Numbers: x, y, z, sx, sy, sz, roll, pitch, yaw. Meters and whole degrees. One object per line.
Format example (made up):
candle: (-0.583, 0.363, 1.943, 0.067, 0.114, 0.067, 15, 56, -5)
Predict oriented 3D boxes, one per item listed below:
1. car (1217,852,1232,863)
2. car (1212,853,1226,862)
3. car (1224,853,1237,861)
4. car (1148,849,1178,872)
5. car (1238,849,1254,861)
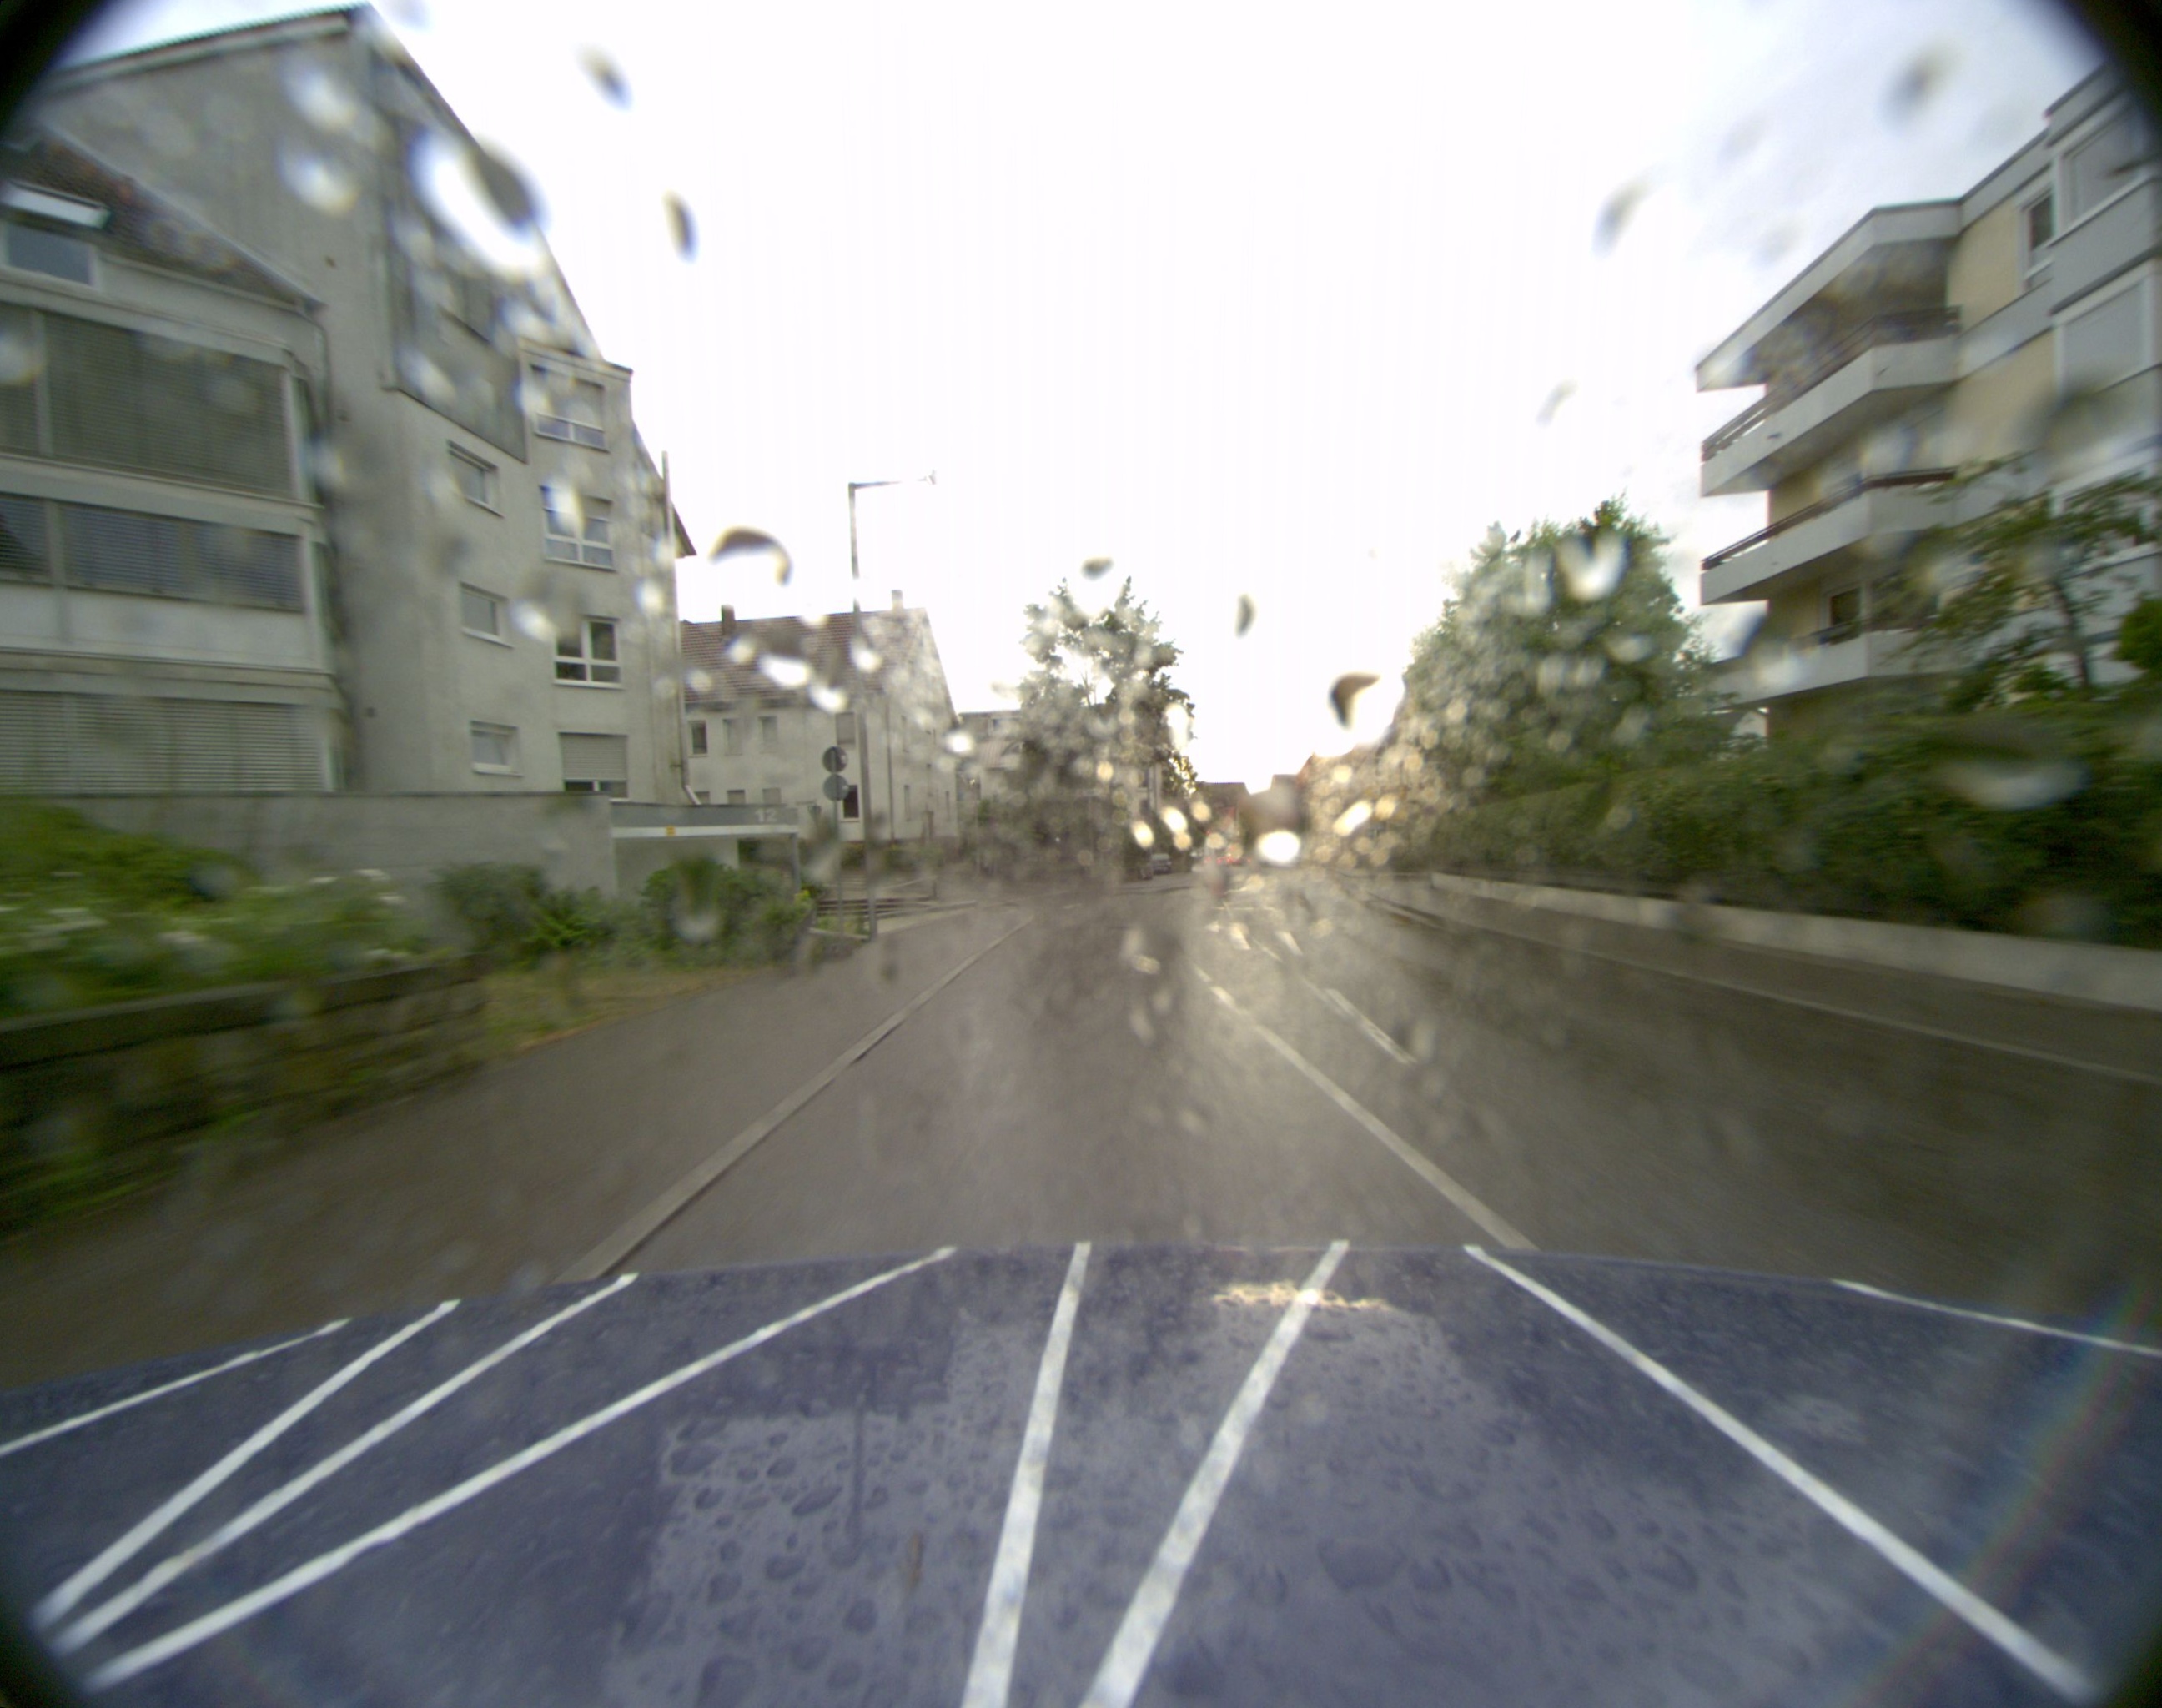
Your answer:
car: (21.015, 0.493, 111.141, 1.803, 1.431, 4.692, -2, -1, 7)
car: (21.649, 0.551, 119.278, 1.803, 1.431, 4.691, -2, -1, 5)
car: (26.010, 0.554, 131.962, 1.741, 1.346, 4.061, -2, -1, 4)
car: (6.197, 0.437, 56.959, 1.784, 1.561, 4.731, -4, 0, 10)
car: (23.884, 0.144, 110.381, 1.749, 1.562, 3.815, -5, 0, 6)
